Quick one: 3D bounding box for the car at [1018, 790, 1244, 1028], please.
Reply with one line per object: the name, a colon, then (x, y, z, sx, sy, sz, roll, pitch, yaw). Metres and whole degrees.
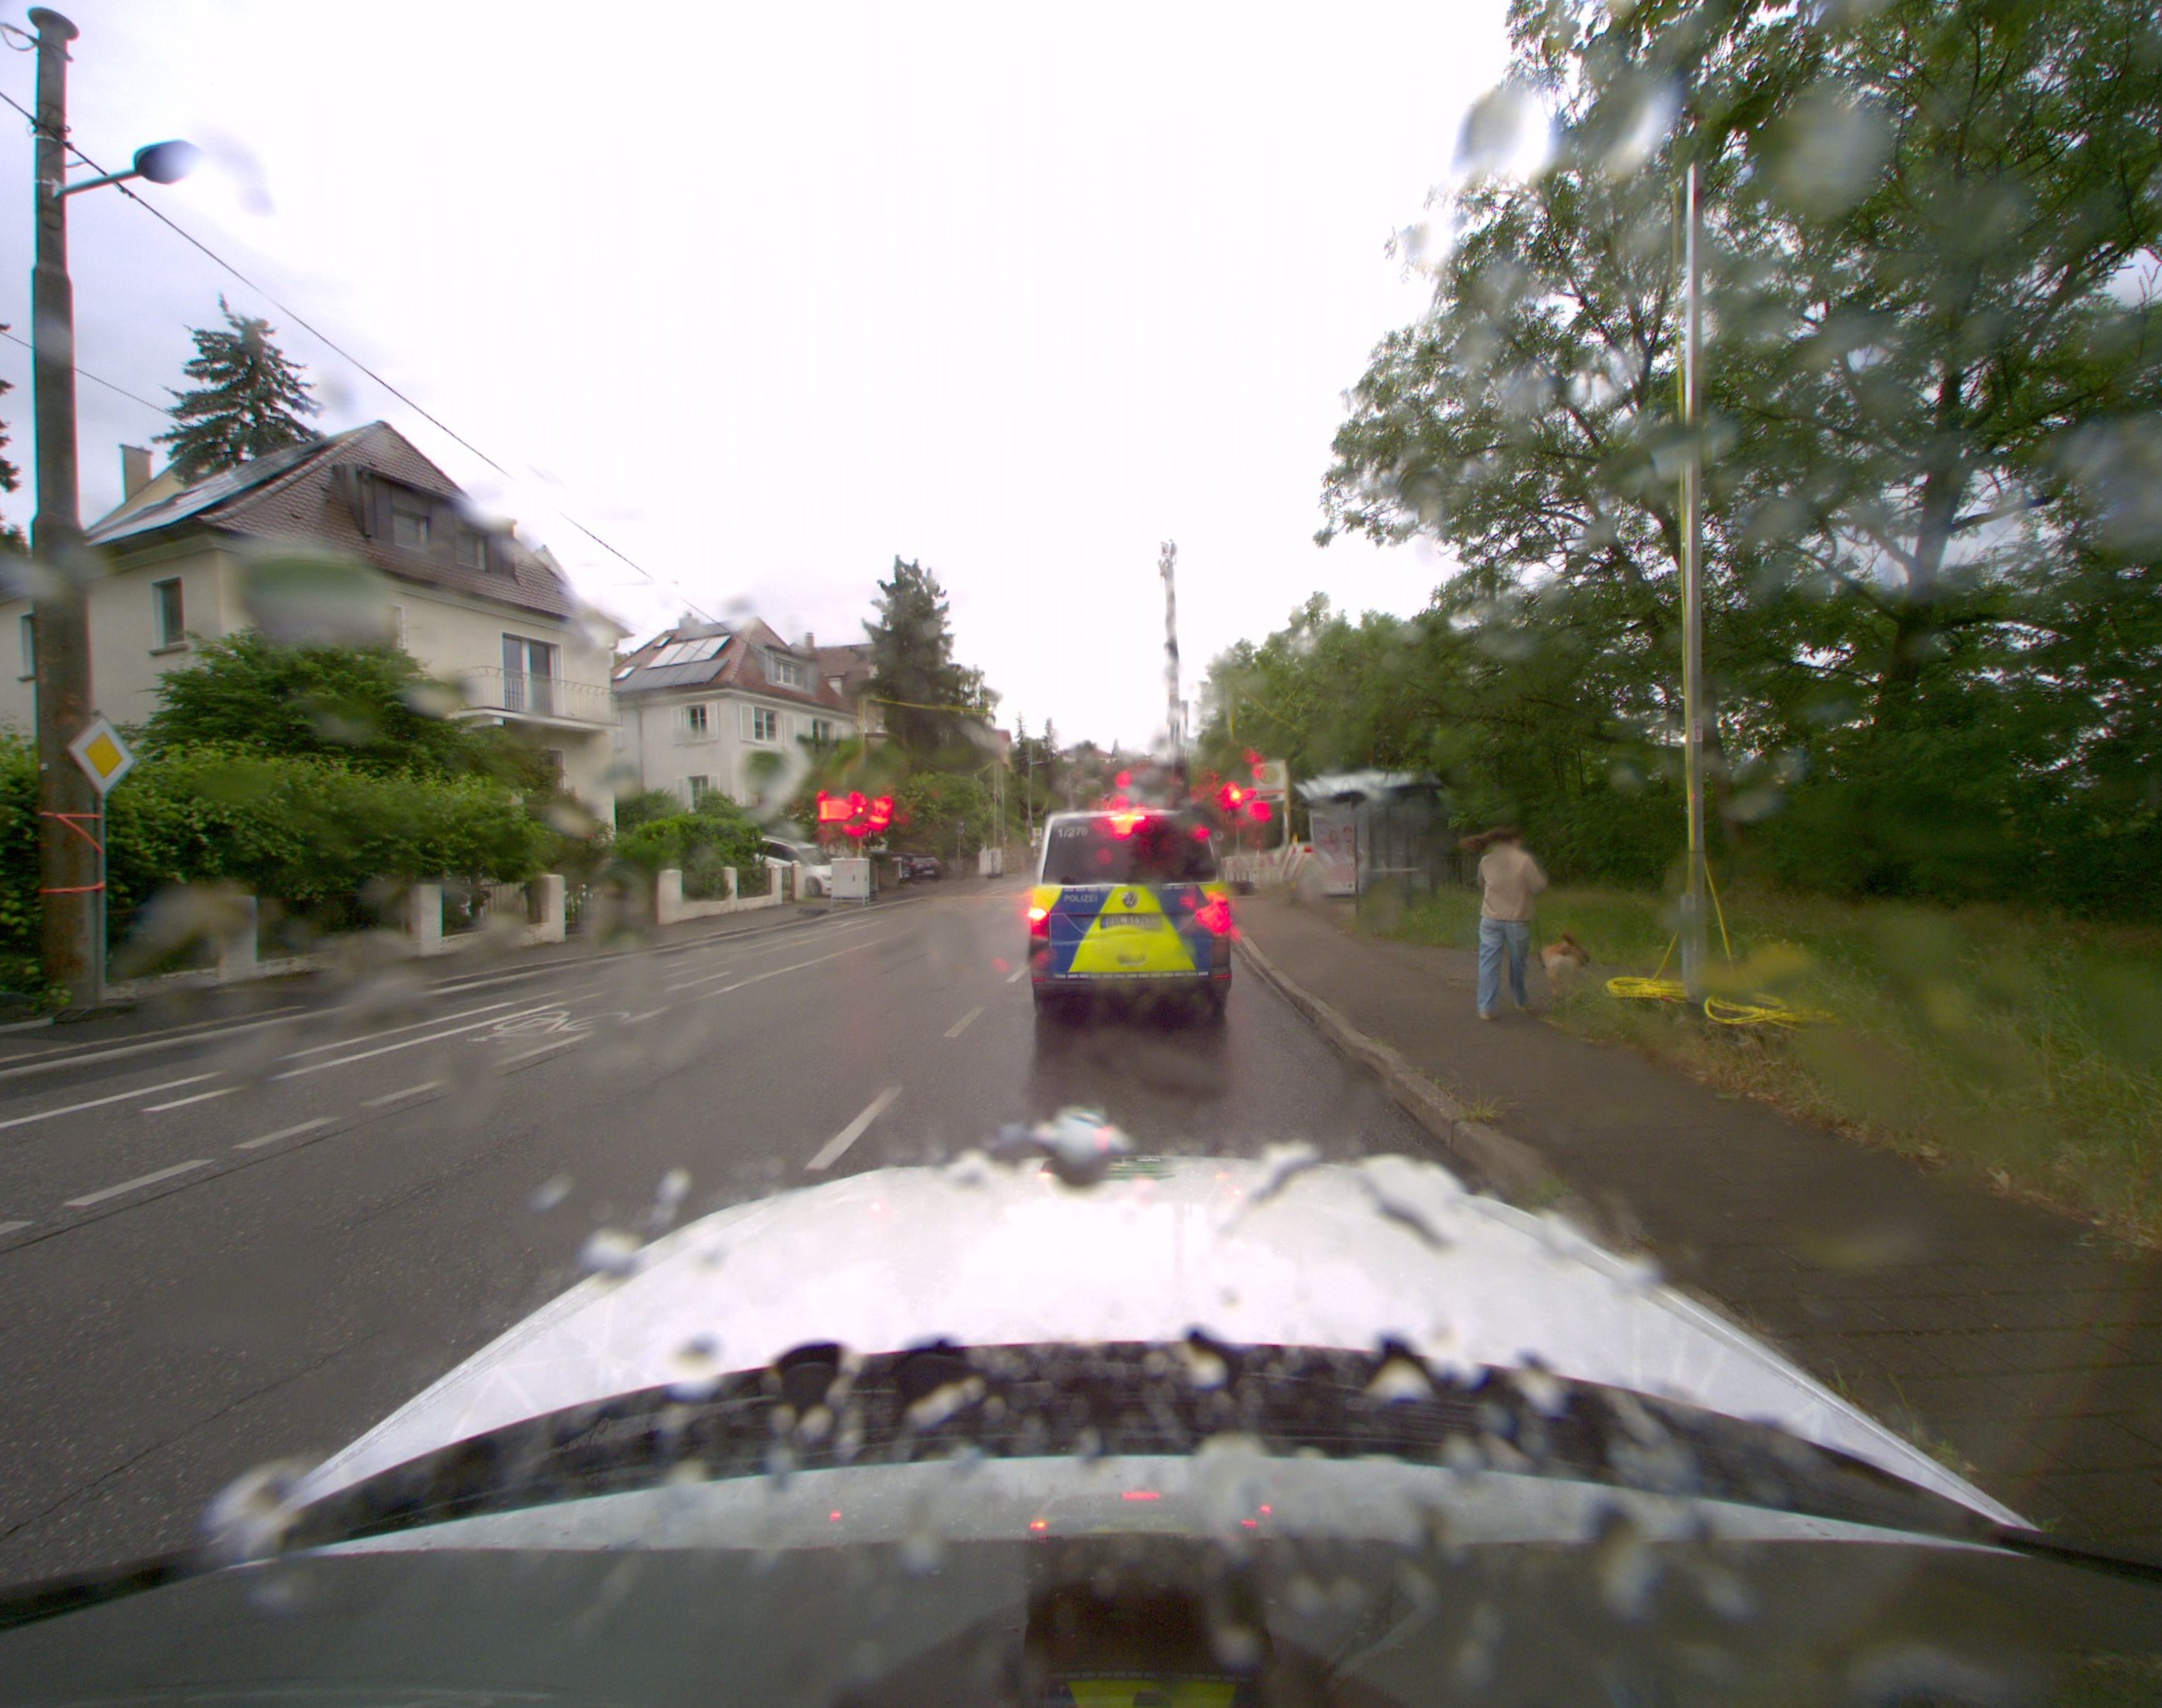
car: (0.495, 0.483, 9.151, 1.901, 2.010, 4.441, 0, -1, 2)

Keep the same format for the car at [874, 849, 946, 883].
car: (-8.049, 0.534, 38.167, 1.795, 1.525, 3.955, 0, 0, -37)

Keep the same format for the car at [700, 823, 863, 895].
car: (-10.293, 0.128, 28.026, 4.927, 1.616, 1.872, 9, 4, 15)

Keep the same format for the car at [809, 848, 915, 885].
car: (-9.440, 0.536, 35.159, 3.958, 1.525, 1.948, -1, -1, 15)

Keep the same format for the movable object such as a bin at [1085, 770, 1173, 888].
movable object such as a bin: (1.997, -0.934, 31.786, 2.862, 4.170, 4.499, -2, 1, 9)

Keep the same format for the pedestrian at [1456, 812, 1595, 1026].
pedestrian: (3.608, 0.488, 6.619, 0.755, 1.604, 0.724, 0, -1, -36)

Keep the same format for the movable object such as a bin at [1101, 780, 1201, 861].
movable object such as a bin: (4.923, -2.163, 55.941, 3.646, 5.066, 7.209, -3, -1, 34)
